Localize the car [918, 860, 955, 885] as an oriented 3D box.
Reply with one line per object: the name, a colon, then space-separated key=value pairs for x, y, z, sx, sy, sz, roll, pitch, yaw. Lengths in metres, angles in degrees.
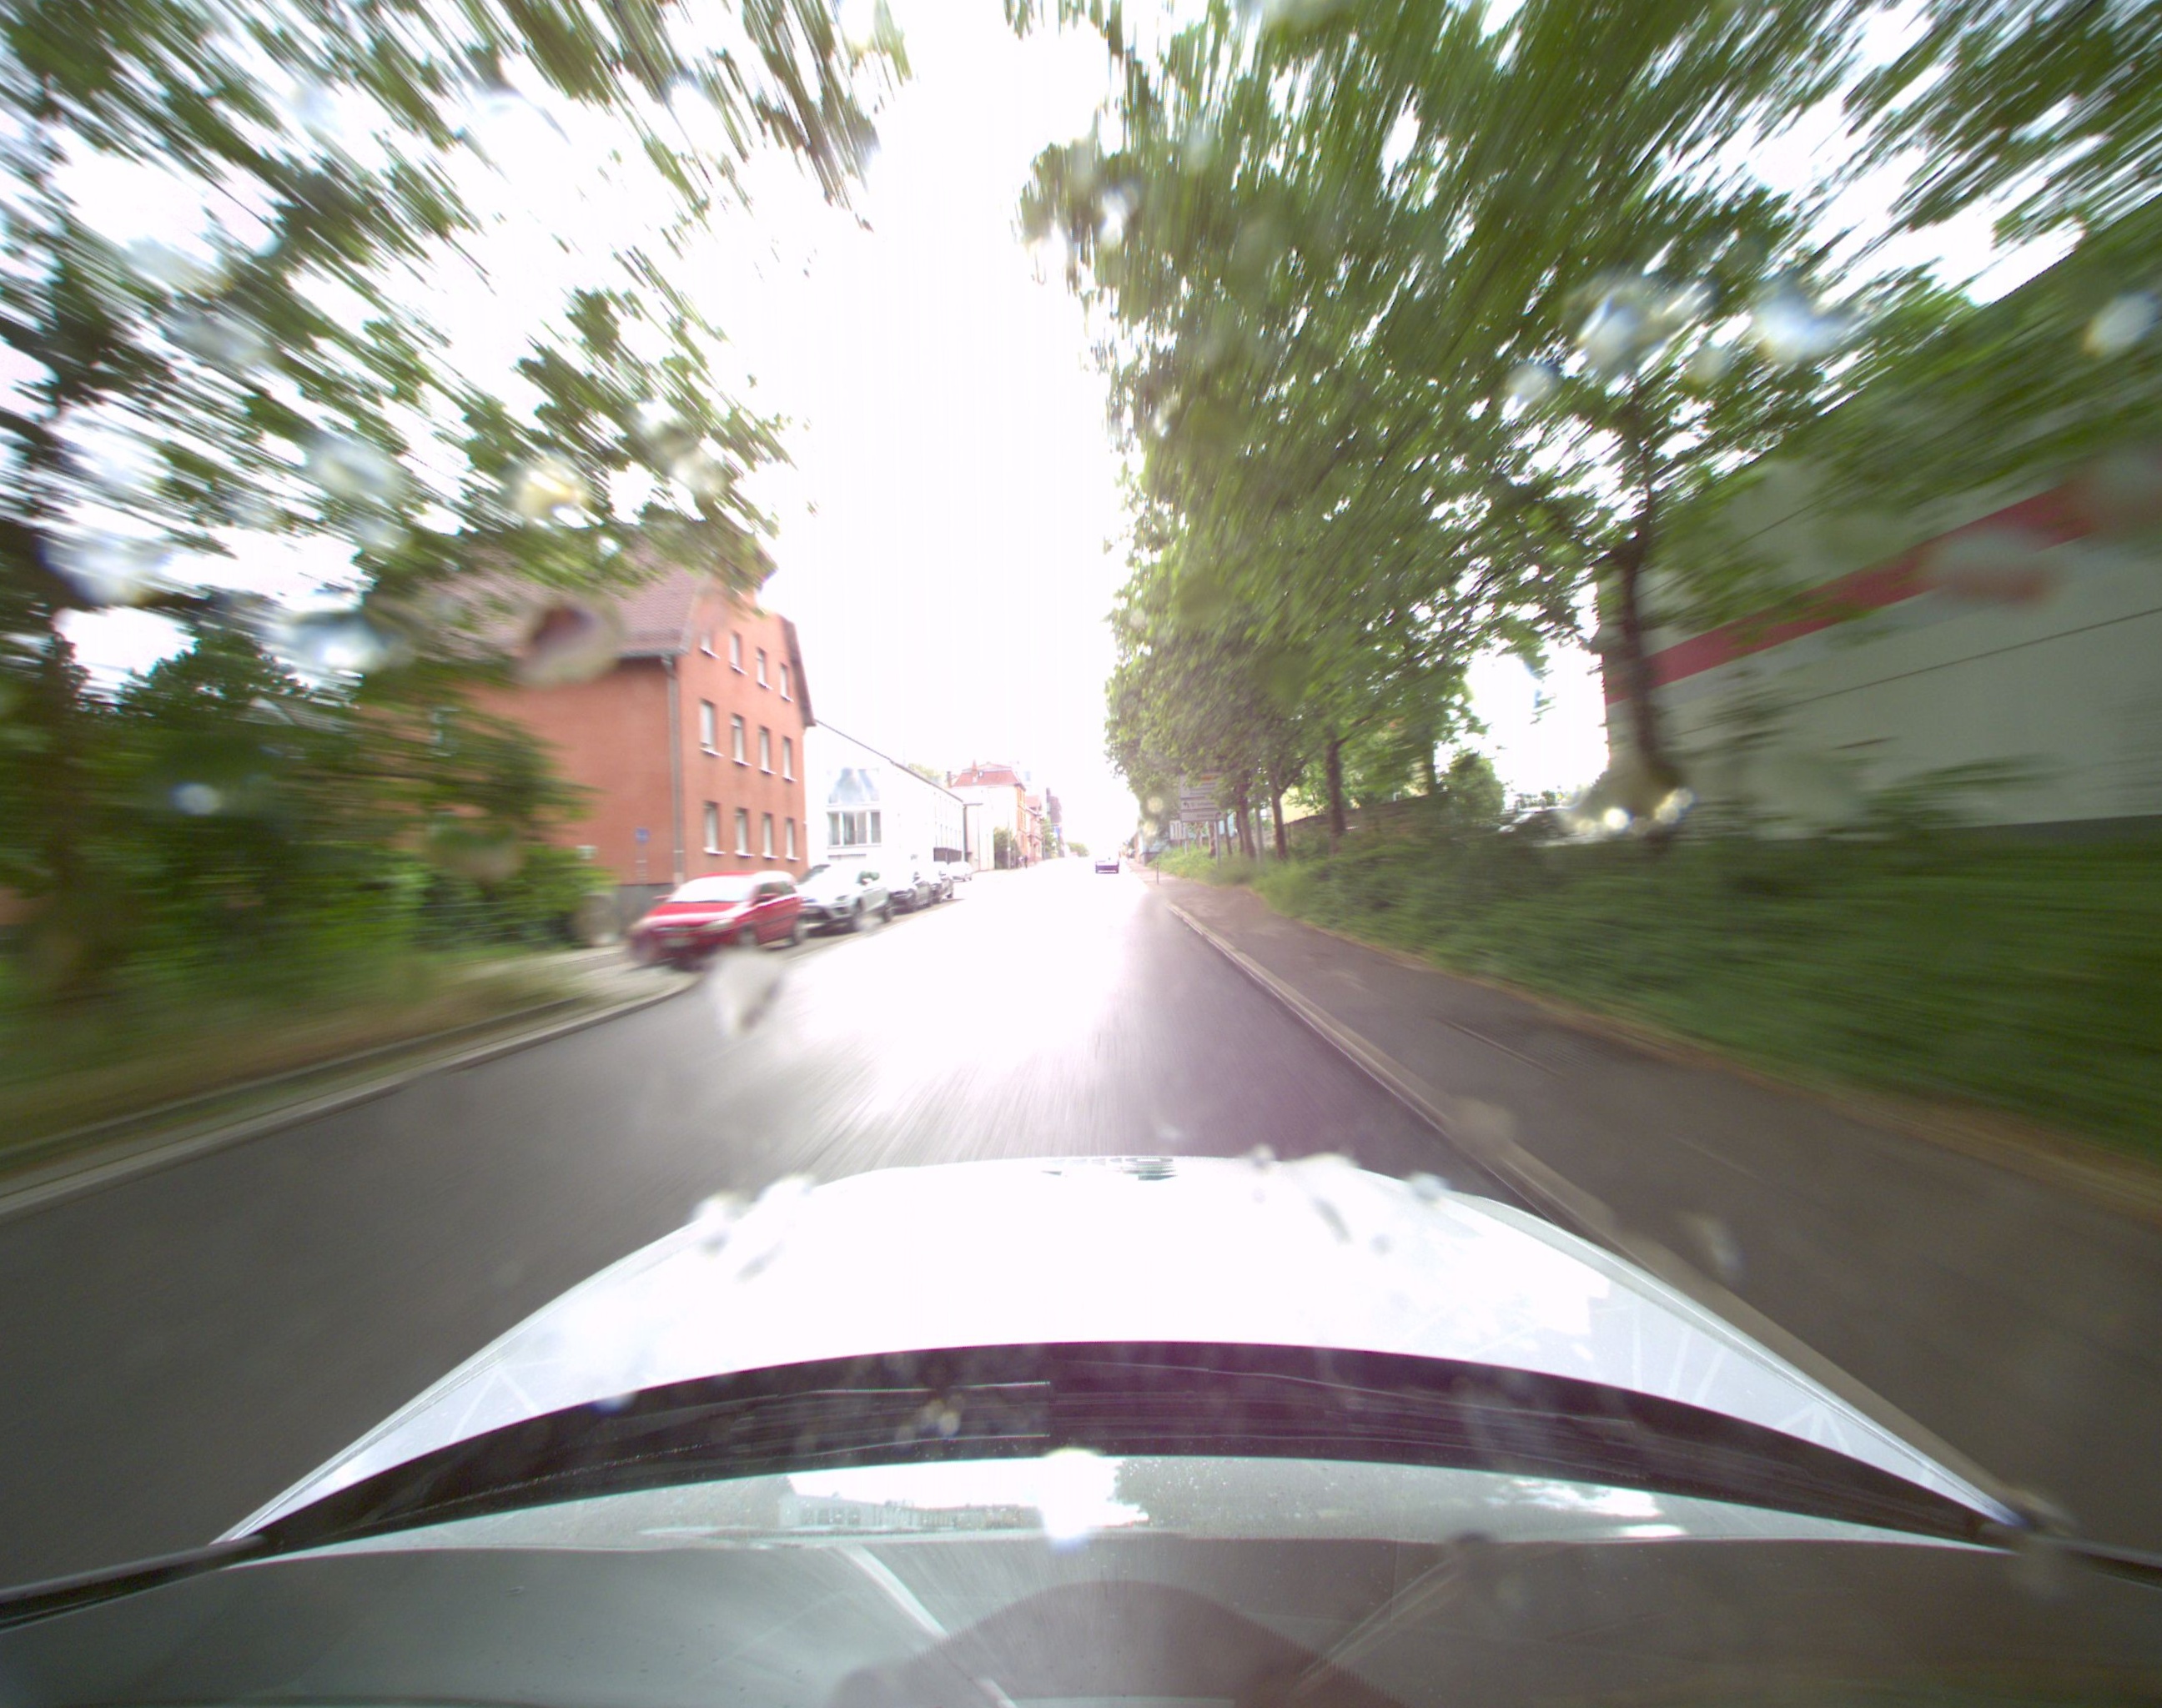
car: x=-9.756 y=1.203 z=55.209 sx=1.662 sy=1.530 sz=4.095 roll=-3 pitch=0 yaw=0

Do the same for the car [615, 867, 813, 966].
car: x=-6.024 y=0.942 z=13.872 sx=1.633 sy=1.373 sz=3.758 roll=-1 pitch=0 yaw=0

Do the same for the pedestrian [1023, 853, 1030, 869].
pedestrian: x=-6.879 y=0.898 z=102.923 sx=0.668 sy=2.014 sz=0.943 roll=-2 pitch=0 yaw=6

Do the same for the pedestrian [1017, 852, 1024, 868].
pedestrian: x=-7.614 y=0.714 z=102.984 sx=0.668 sy=2.014 sz=0.943 roll=-2 pitch=0 yaw=6

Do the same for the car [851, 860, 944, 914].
car: x=-5.657 y=0.971 z=25.616 sx=1.737 sy=1.482 sz=4.387 roll=-2 pitch=0 yaw=2

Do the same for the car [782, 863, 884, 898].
car: x=-12.175 y=1.272 z=40.179 sx=4.273 sy=1.463 sz=2.069 roll=-3 pitch=0 yaw=1

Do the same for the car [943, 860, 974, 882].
car: x=-9.306 y=1.240 z=62.167 sx=1.662 sy=1.530 sz=4.095 roll=-3 pitch=0 yaw=0

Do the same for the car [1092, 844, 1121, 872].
car: x=2.234 y=0.391 z=69.721 sx=2.327 sy=2.231 sz=4.002 roll=-3 pitch=-2 yaw=2

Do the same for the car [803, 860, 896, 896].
car: x=-12.100 y=1.242 z=42.761 sx=4.130 sy=1.698 sz=2.003 roll=-3 pitch=0 yaw=4

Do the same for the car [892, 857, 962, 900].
car: x=-5.643 y=0.881 z=30.332 sx=1.628 sy=1.482 sz=4.360 roll=0 pitch=-1 yaw=2

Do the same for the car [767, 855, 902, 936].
car: x=-5.639 y=0.875 z=19.192 sx=1.684 sy=1.542 sz=4.119 roll=-5 pitch=0 yaw=2
